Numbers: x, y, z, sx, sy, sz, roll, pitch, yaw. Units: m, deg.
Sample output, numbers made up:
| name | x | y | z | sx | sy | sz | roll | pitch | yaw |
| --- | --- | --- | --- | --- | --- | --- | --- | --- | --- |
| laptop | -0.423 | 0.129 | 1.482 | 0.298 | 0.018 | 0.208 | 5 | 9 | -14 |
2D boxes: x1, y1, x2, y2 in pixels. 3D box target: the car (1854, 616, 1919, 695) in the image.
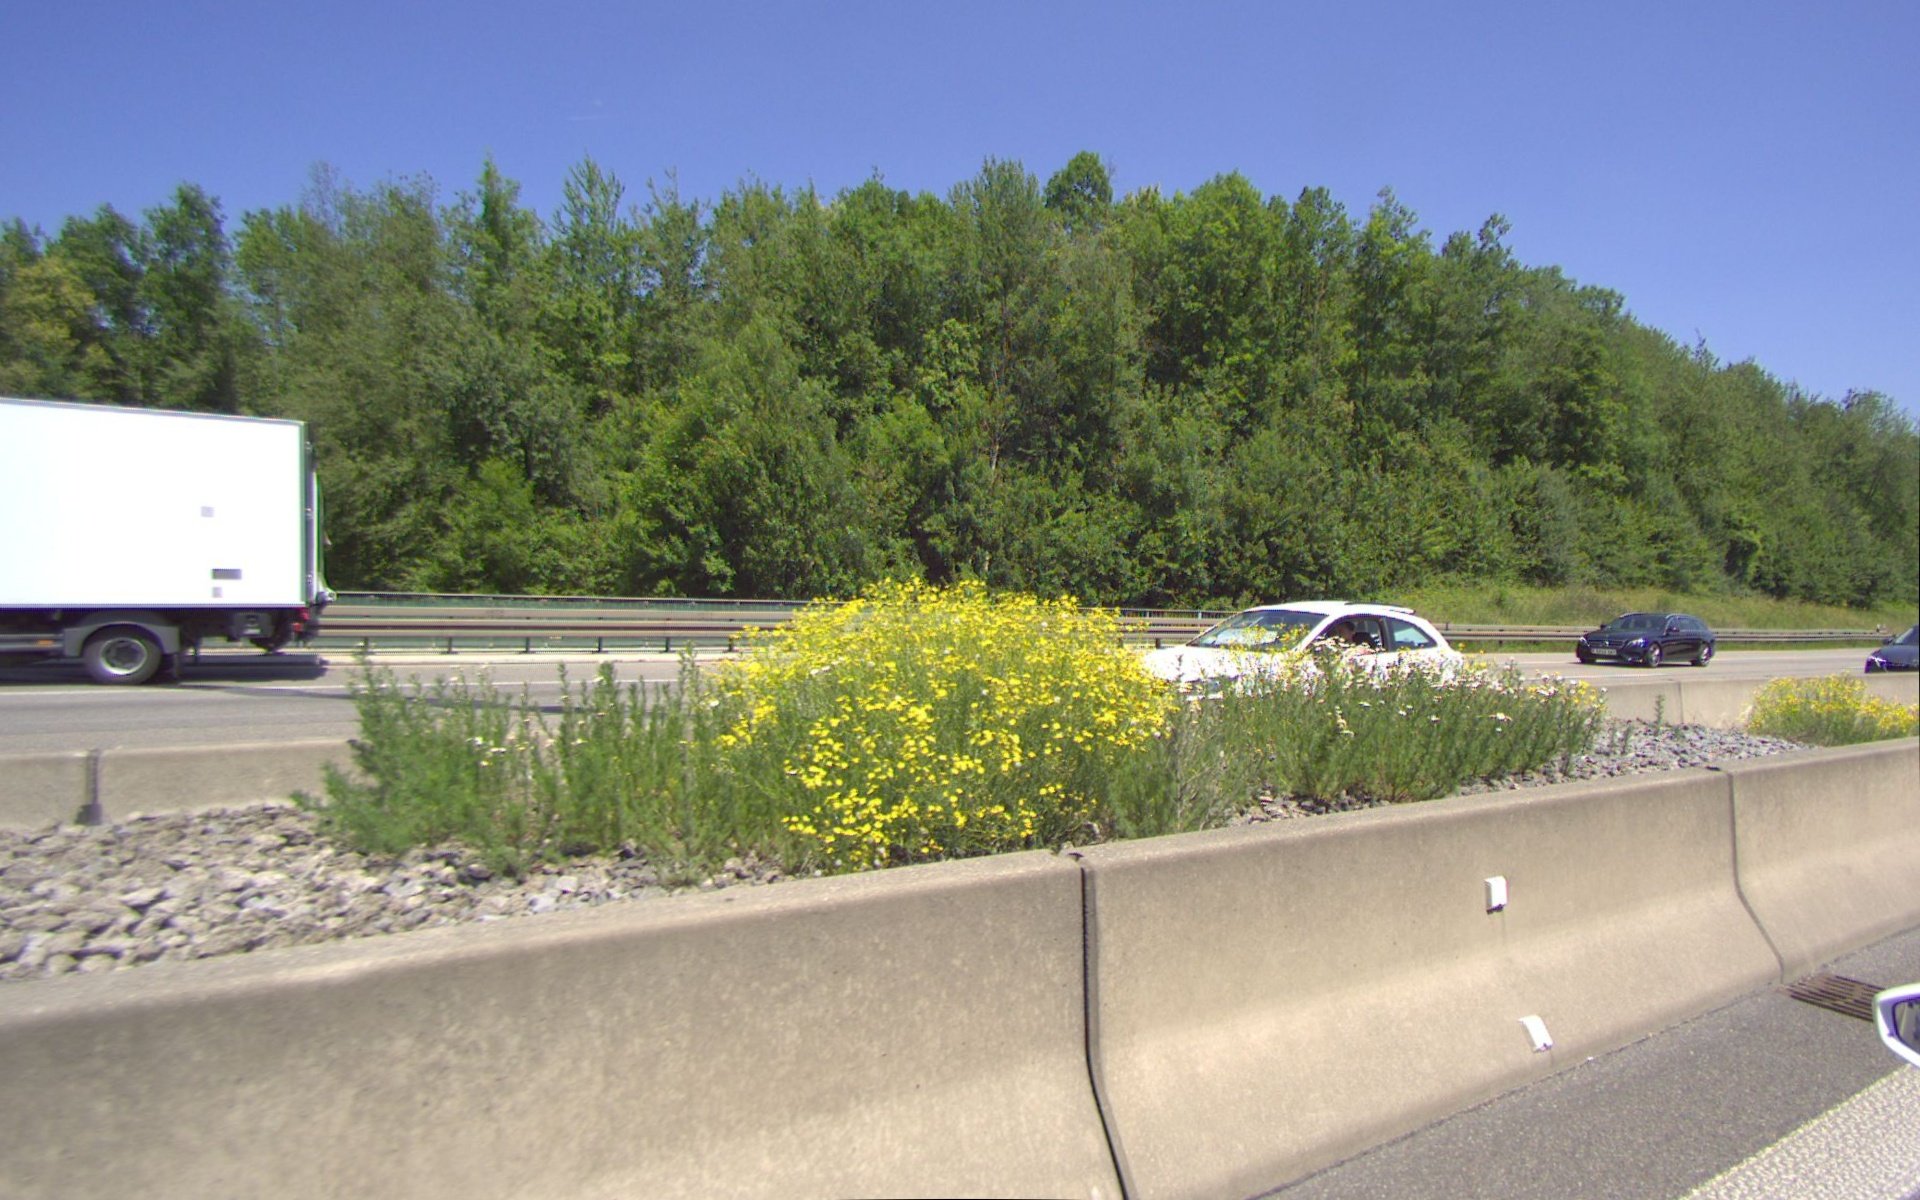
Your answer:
| name | x | y | z | sx | sy | sz | roll | pitch | yaw |
| --- | --- | --- | --- | --- | --- | --- | --- | --- | --- |
| car | 19.304 | 1.059 | 19.488 | 4.560 | 1.424 | 1.722 | 1 | -1 | -32 |

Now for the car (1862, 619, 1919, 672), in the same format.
| name | x | y | z | sx | sy | sz | roll | pitch | yaw |
| --- | --- | --- | --- | --- | --- | --- | --- | --- | --- |
| car | 28.360 | 1.321 | 29.346 | 4.185 | 1.439 | 1.833 | 1 | 0 | -31 |

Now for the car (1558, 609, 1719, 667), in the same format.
| name | x | y | z | sx | sy | sz | roll | pitch | yaw |
| --- | --- | --- | --- | --- | --- | --- | --- | --- | --- |
| car | 19.263 | 1.068 | 28.475 | 4.636 | 1.500 | 1.984 | 1 | 0 | -31 |

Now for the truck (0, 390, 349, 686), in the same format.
| name | x | y | z | sx | sy | sz | roll | pitch | yaw |
| --- | --- | --- | --- | --- | --- | --- | --- | --- | --- |
| truck | -12.231 | -0.764 | 13.046 | 7.231 | 3.521 | 2.721 | 1 | 1 | -31 |

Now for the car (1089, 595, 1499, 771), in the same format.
| name | x | y | z | sx | sy | sz | roll | pitch | yaw |
| --- | --- | --- | --- | --- | --- | --- | --- | --- | --- |
| car | 3.384 | 0.724 | 9.996 | 3.988 | 1.447 | 1.625 | 1 | 0 | -30 |

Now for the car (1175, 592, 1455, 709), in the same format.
| name | x | y | z | sx | sy | sz | roll | pitch | yaw |
| --- | --- | --- | --- | --- | --- | --- | --- | --- | --- |
| car | 5.383 | 0.710 | 15.158 | 3.952 | 1.567 | 1.834 | 1 | 0 | -30 |
